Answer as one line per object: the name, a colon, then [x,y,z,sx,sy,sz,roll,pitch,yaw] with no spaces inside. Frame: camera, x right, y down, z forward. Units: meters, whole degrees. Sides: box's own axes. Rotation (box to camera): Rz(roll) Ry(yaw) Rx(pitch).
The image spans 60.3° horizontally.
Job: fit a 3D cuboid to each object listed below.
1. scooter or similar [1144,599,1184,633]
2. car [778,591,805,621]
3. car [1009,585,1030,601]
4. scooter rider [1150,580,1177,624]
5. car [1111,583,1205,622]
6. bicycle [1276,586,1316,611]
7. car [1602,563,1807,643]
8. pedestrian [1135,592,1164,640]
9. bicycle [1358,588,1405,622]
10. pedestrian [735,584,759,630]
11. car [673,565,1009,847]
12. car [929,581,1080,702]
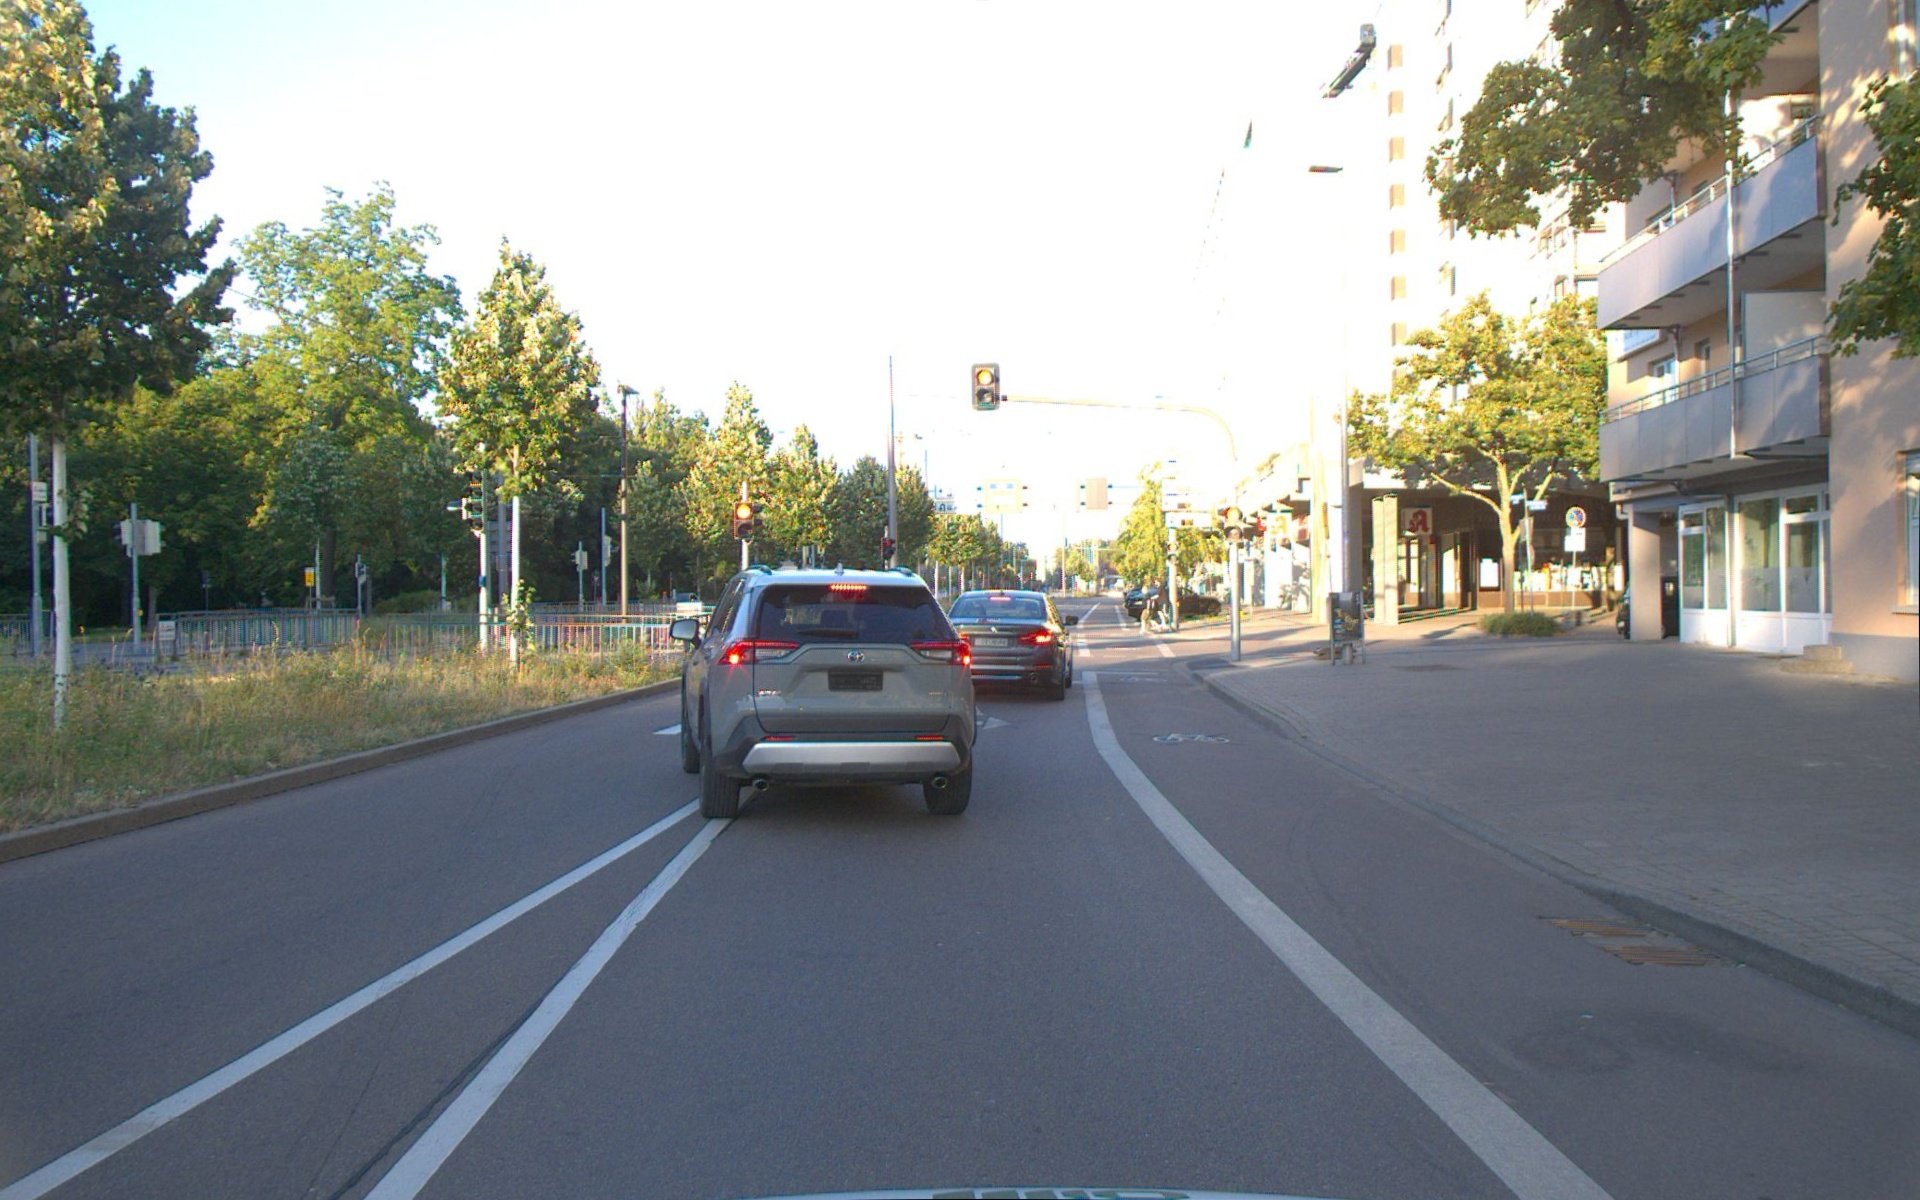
scooter or similar: [7.301,0.575,59.209,1.302,1.173,0.513,-1,0,21]
car: [-13.538,0.465,133.242,1.954,2.205,4.748,0,2,-3]
car: [5.952,-0.666,164.439,1.937,1.458,4.845,1,2,3]
scooter rider: [7.289,0.076,59.239,0.803,1.540,0.653,-1,0,21]
car: [8.924,0.087,74.457,4.227,1.687,1.834,-1,2,-40]
bicycle: [17.435,-0.074,85.801,1.973,1.169,0.691,2,-1,9]
car: [17.221,0.092,38.427,3.955,1.613,1.707,-3,-3,8]
pedestrian: [6.526,0.552,56.988,0.817,1.614,0.812,-1,0,20]
bicycle: [14.828,0.173,58.254,0.677,1.169,2.015,2,-1,-15]
pedestrian: [-8.300,0.270,64.482,0.817,1.742,0.648,-1,0,2]
car: [-1.078,0.603,12.375,1.823,1.687,4.254,0,2,-14]
car: [0.739,0.519,23.983,1.891,1.507,4.526,1,2,5]
